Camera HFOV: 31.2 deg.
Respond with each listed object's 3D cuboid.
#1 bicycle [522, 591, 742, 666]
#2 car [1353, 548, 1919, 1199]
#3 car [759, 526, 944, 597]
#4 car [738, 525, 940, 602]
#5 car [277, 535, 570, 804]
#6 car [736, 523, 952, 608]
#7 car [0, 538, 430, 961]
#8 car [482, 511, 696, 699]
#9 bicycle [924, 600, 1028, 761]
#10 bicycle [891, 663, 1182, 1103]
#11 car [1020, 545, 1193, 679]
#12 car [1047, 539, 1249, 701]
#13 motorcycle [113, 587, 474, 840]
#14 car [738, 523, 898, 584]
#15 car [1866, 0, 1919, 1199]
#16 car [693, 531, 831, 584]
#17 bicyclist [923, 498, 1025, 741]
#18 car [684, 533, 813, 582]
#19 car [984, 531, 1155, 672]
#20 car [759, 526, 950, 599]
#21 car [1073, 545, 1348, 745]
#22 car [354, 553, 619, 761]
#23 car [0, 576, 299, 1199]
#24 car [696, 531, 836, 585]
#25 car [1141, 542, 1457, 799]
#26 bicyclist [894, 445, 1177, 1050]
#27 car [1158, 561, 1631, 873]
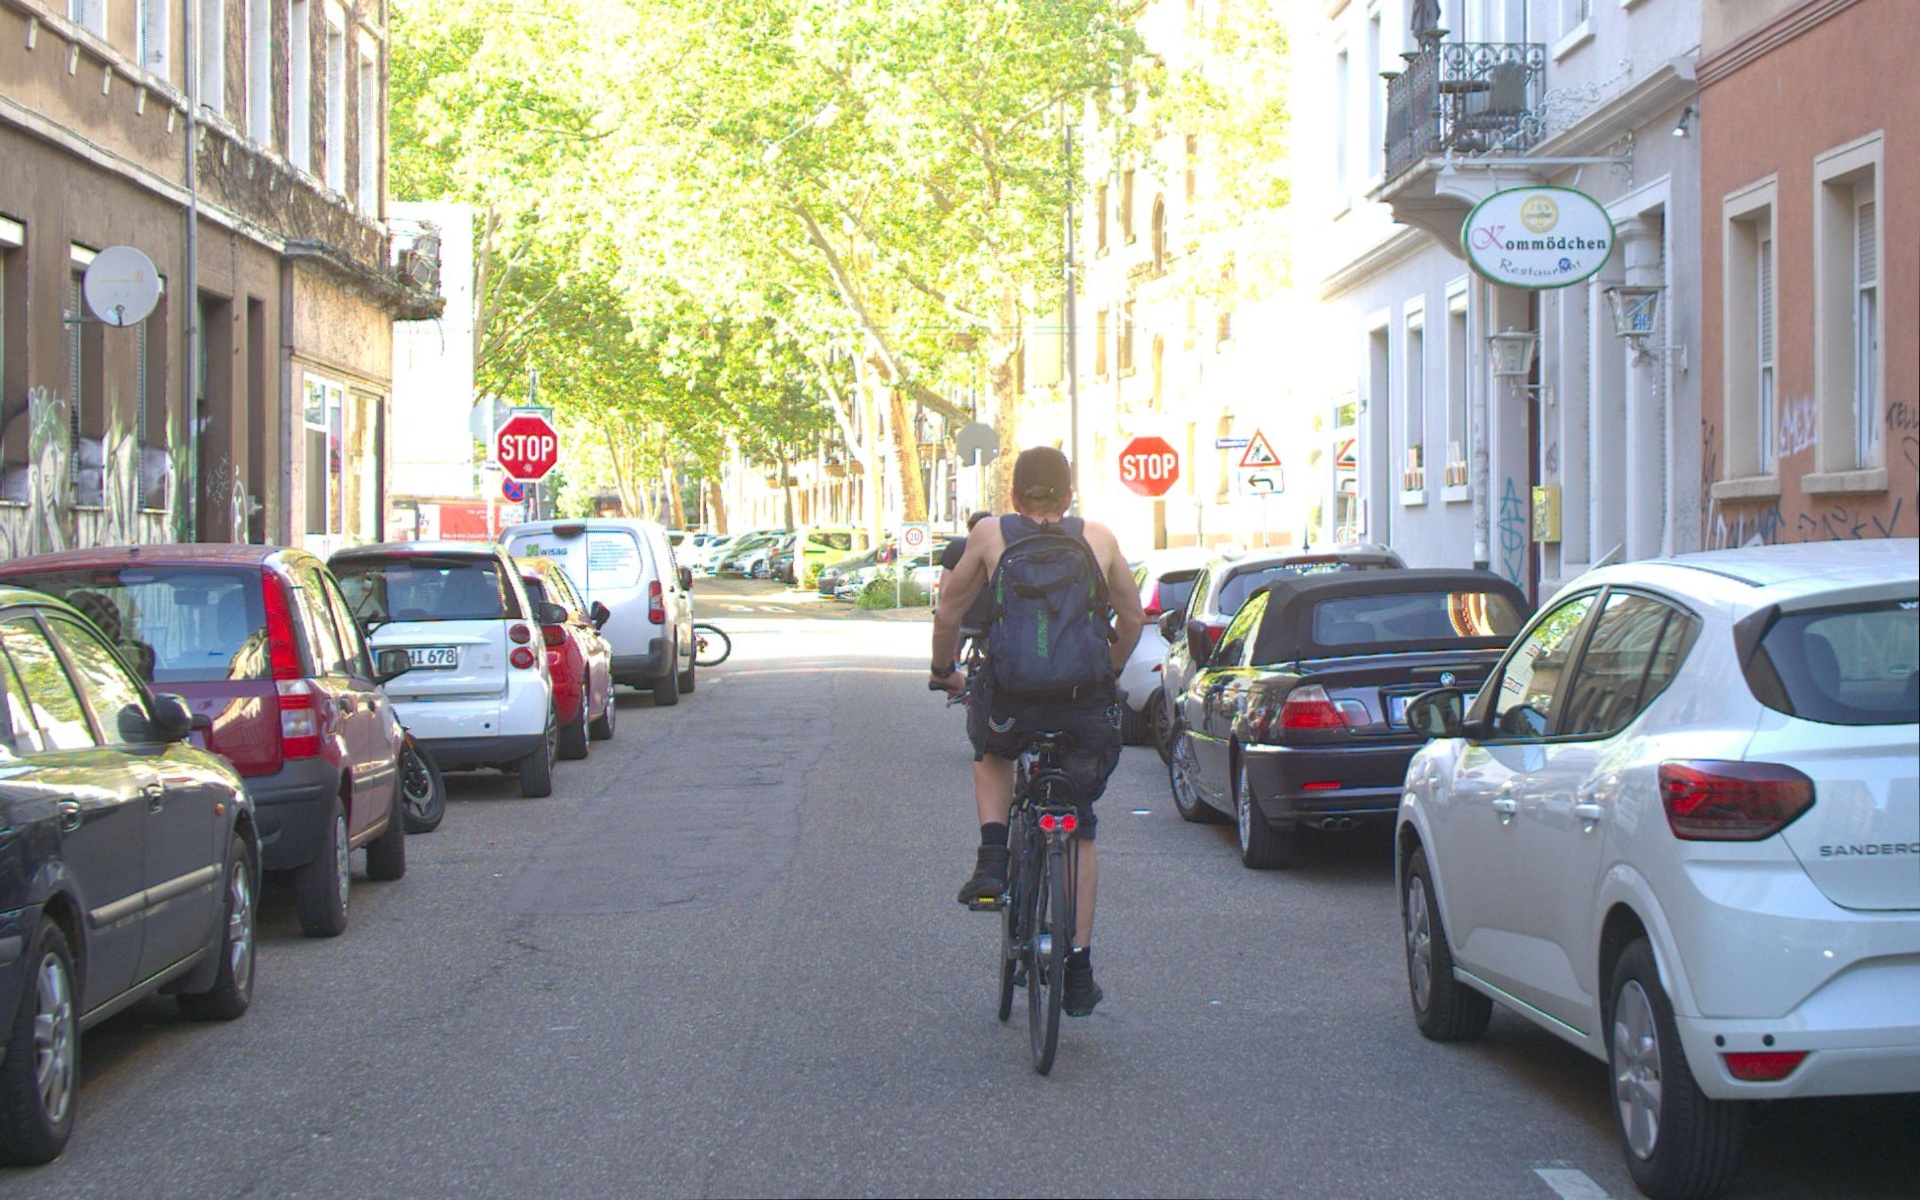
[{"bbox_3d":[-4.112,0.356,43.233,2.715,0.889,0.619,-1,1,-3],"label":"bicycle"},{"bbox_3d":[2.305,0.606,9.418,1.731,1.465,4.022,-1,1,-4],"label":"car"},{"bbox_3d":[-2.703,-0.956,85.155,4.468,1.690,1.867,-1,1,-5],"label":"car"},{"bbox_3d":[-2.781,-0.842,78.379,4.468,1.690,1.867,-1,1,-5],"label":"car"},{"bbox_3d":[-3.320,0.370,21.759,1.544,1.545,3.466,-1,1,-4],"label":"car"},{"bbox_3d":[-2.498,-0.744,73.352,4.468,1.753,1.867,-1,1,-5],"label":"car"},{"bbox_3d":[-3.218,0.526,14.386,1.604,1.525,3.379,-2,1,-3],"label":"car"},{"bbox_3d":[-3.601,0.005,33.956,1.787,1.731,3.876,-1,1,-2],"label":"car"},{"bbox_3d":[0.097,0.536,23.967,0.664,1.034,1.959,-1,1,-1],"label":"bicycle"},{"bbox_3d":[0.186,0.781,10.280,0.740,1.097,2.042,1,1,-2],"label":"bicycle"},{"bbox_3d":[1.678,0.108,40.349,1.686,1.466,3.575,-1,1,-3],"label":"car"},{"bbox_3d":[1.849,0.160,34.775,1.652,1.525,3.575,-1,1,-3],"label":"car"},{"bbox_3d":[-3.498,0.573,18.008,1.795,1.251,0.710,-1,1,-15],"label":"motorcycle"},{"bbox_3d":[-4.083,-1.342,98.261,4.468,1.690,1.867,-1,1,-5],"label":"car"},{"bbox_3d":[2.711,0.197,2.869,2.204,2.542,6.036,-1,1,-1],"label":"car"},{"bbox_3d":[-6.564,-1.416,113.790,4.468,1.690,1.867,-1,1,-5],"label":"car"},{"bbox_3d":[0.094,0.124,23.872,0.669,1.653,0.877,-1,1,-1],"label":"bicyclist"},{"bbox_3d":[-7.457,-1.504,121.081,4.468,1.690,1.867,-1,1,-5],"label":"car"},{"bbox_3d":[1.403,-0.022,45.574,1.893,1.763,4.001,-1,1,-4],"label":"car"},{"bbox_3d":[-2.561,-0.911,82.898,4.468,1.690,1.867,-1,1,-5],"label":"car"},{"bbox_3d":[1.940,0.303,27.669,1.710,1.465,4.001,-1,1,-3],"label":"car"},{"bbox_3d":[-3.446,0.366,25.523,1.552,1.395,3.668,-1,1,-2],"label":"car"},{"bbox_3d":[-3.042,0.673,9.429,1.706,1.409,4.302,-1,1,-1],"label":"car"},{"bbox_3d":[-6.313,-1.361,111.505,4.468,1.690,1.867,-1,1,-5],"label":"car"},{"bbox_3d":[2.104,0.386,22.213,1.592,1.487,3.876,-1,1,-1],"label":"car"},{"bbox_3d":[0.200,0.403,10.161,0.740,1.673,1.117,1,1,-2],"label":"bicyclist"},{"bbox_3d":[2.045,0.493,17.232,1.657,1.334,4.001,-1,1,-3],"label":"car"}]
